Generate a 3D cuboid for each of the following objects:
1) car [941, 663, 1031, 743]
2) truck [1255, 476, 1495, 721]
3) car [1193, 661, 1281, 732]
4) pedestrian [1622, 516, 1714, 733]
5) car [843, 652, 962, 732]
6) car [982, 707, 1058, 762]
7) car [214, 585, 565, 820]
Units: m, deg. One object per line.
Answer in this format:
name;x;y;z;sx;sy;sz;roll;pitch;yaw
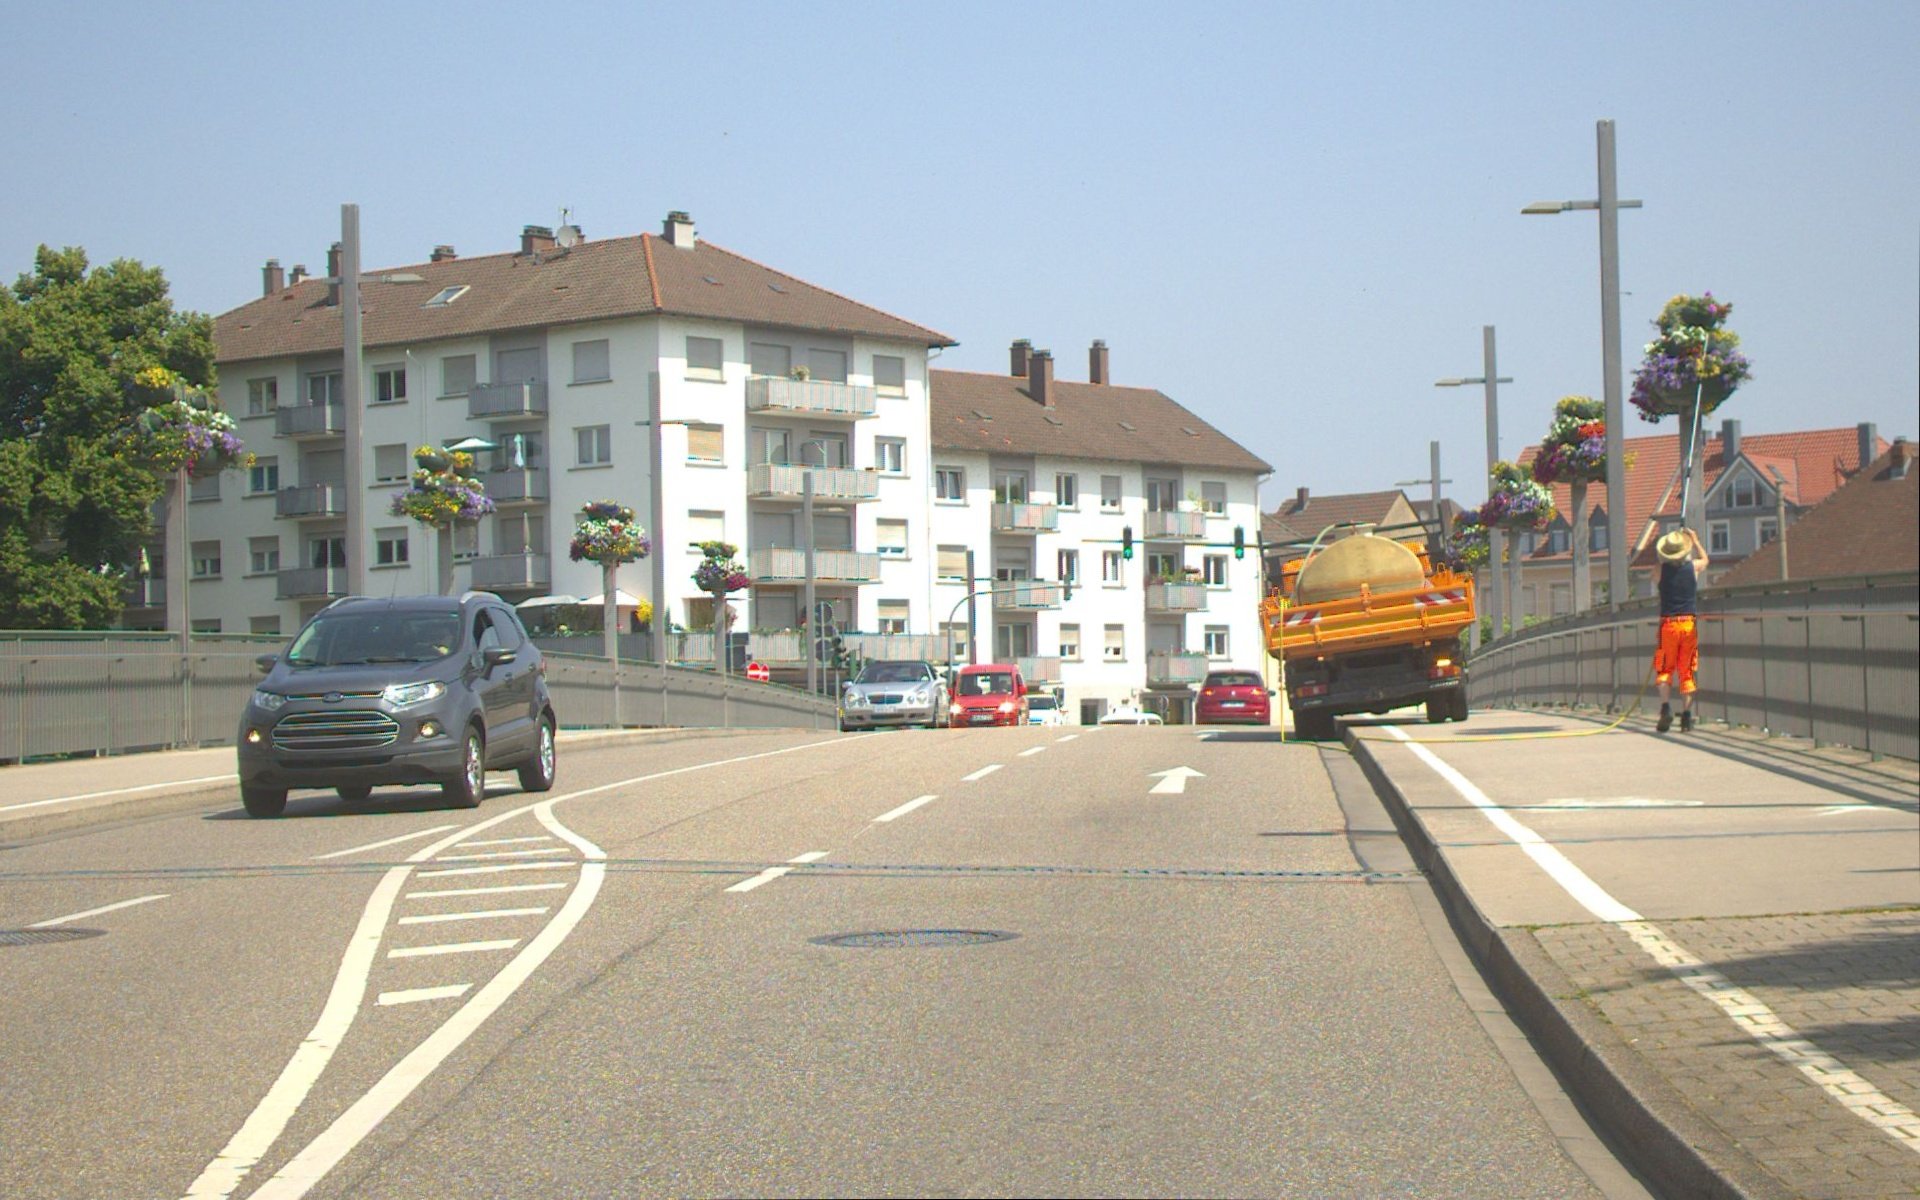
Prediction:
car;0.629;2.378;79.136;1.736;1.771;4.175;-1;-2;5
truck;4.925;0.048;41.321;2.606;2.682;5.821;-1;-1;6
car;6.647;2.325;82.905;1.990;1.607;4.341;-1;-2;3
pedestrian;6.466;0.231;31.383;0.548;1.953;0.671;-3;-3;36
car;-1.029;1.680;63.843;1.699;1.354;4.455;-2;-1;5
car;1.665;3.706;94.519;1.844;1.427;4.712;-1;-3;4
car;-4.360;0.763;26.847;1.737;1.635;3.920;-2;-1;5
